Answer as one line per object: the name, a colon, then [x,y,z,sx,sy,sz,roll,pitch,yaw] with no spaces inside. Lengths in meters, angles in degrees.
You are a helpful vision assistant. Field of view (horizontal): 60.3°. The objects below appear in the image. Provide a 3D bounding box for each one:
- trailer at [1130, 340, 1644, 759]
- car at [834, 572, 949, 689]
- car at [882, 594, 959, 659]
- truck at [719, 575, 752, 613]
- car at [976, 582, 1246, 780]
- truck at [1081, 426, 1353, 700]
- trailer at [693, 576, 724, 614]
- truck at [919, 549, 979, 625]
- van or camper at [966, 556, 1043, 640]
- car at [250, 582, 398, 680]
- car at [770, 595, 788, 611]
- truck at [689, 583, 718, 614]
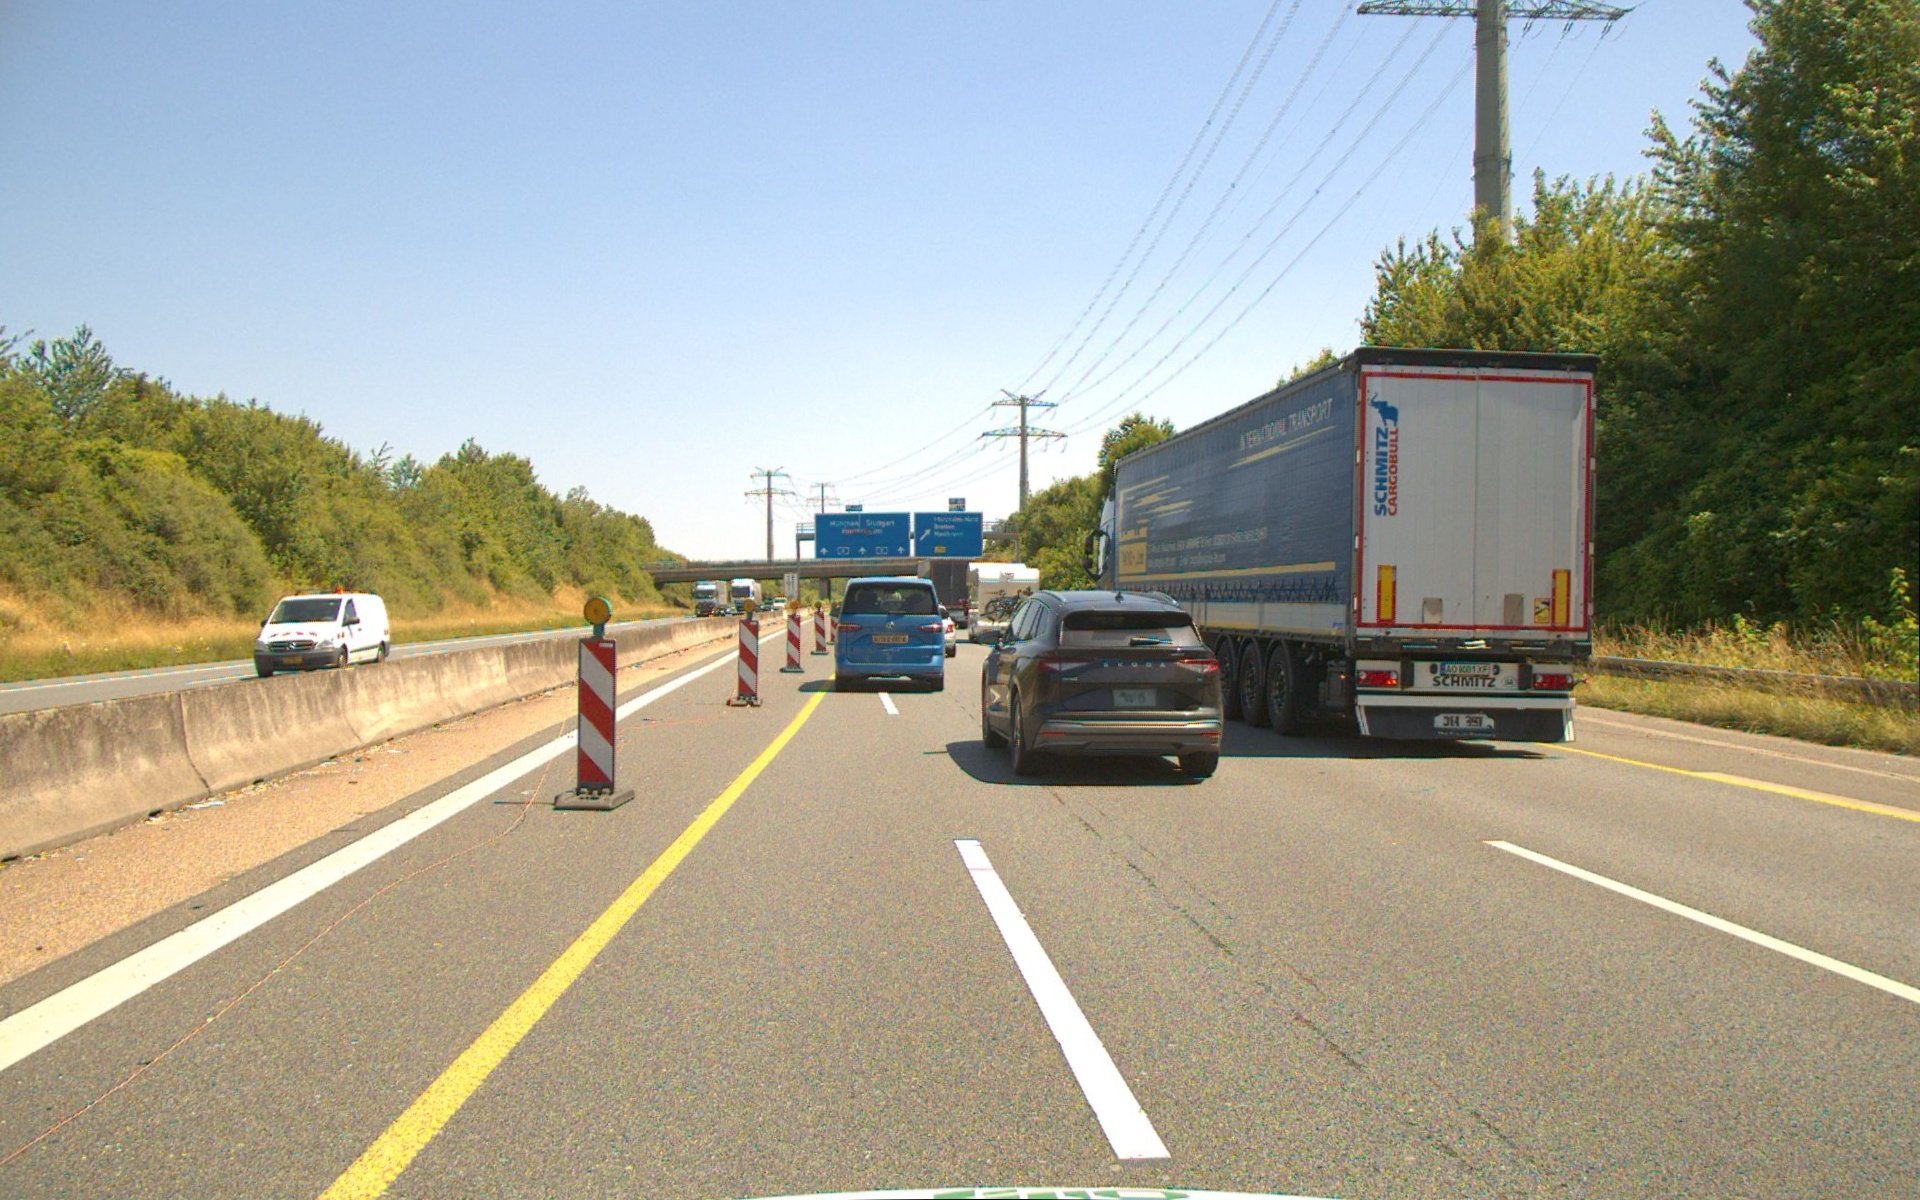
trailer: [4.835,-0.500,22.069,3.005,4.113,11.475,0,0,-5]
car: [-1.284,0.538,29.325,1.858,1.874,4.438,1,-1,-4]
car: [-1.160,0.696,46.254,1.858,1.535,4.439,2,2,-4]
truck: [-26.101,-0.736,192.776,3.100,4.298,7.411,-1,0,-2]
car: [1.270,0.652,15.824,1.858,1.620,4.438,0,0,-4]
truck: [4.220,-0.562,29.126,2.965,4.159,7.787,0,0,-5]
trailer: [-29.749,-0.565,196.141,2.431,4.253,12.075,-2,0,-4]
truck: [-0.779,-0.708,98.689,3.016,4.219,13.047,1,0,-2]
van or camper: [1.623,-0.090,62.944,2.535,3.020,6.081,0,0,-3]
car: [-14.895,0.688,39.051,1.925,2.121,4.933,-1,0,-5]
car: [-22.126,0.354,201.916,1.829,1.824,5.452,-1,0,-3]
truck: [-29.216,-0.143,188.477,2.416,3.345,6.918,-3,0,-4]
